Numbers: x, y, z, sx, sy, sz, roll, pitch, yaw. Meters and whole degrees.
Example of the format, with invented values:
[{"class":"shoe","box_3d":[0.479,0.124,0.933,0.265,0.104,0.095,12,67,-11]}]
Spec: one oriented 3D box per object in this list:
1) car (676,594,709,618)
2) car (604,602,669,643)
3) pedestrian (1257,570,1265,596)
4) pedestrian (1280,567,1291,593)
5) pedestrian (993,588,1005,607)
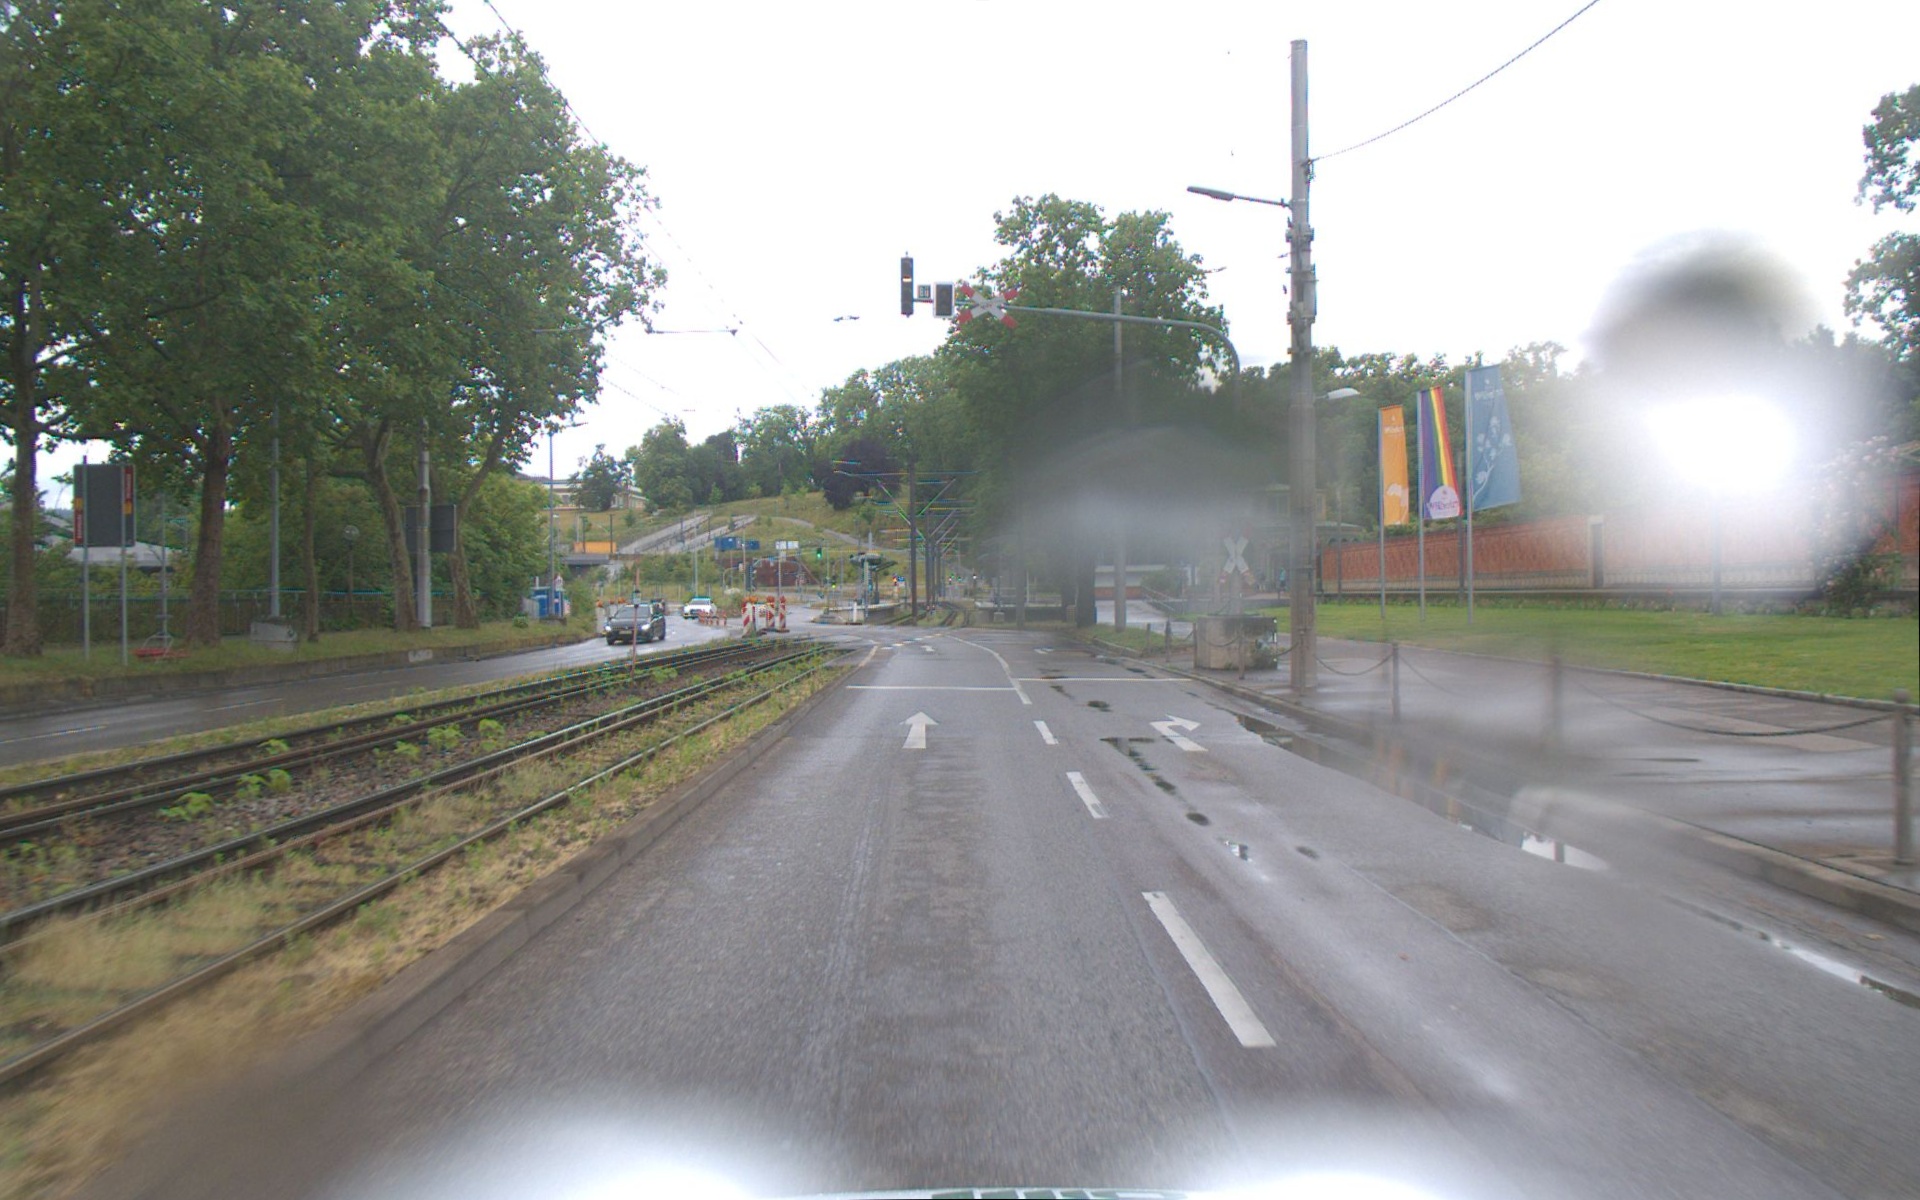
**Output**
[{"class":"car","box_3d":[-18.193,0.381,112.745,1.675,1.525,4.717,-2,1,-3]},{"class":"car","box_3d":[-12.810,0.874,65.726,1.711,1.454,4.559,-2,0,-1]},{"class":"pedestrian","box_3d":[20.114,-1.132,110.440,0.520,1.741,0.696,1,-2,11]},{"class":"pedestrian","box_3d":[21.599,-1.329,109.703,0.540,1.686,0.468,-1,-1,34]},{"class":"pedestrian","box_3d":[2.395,-0.167,102.239,0.590,1.138,0.518,3,-1,-16]}]
